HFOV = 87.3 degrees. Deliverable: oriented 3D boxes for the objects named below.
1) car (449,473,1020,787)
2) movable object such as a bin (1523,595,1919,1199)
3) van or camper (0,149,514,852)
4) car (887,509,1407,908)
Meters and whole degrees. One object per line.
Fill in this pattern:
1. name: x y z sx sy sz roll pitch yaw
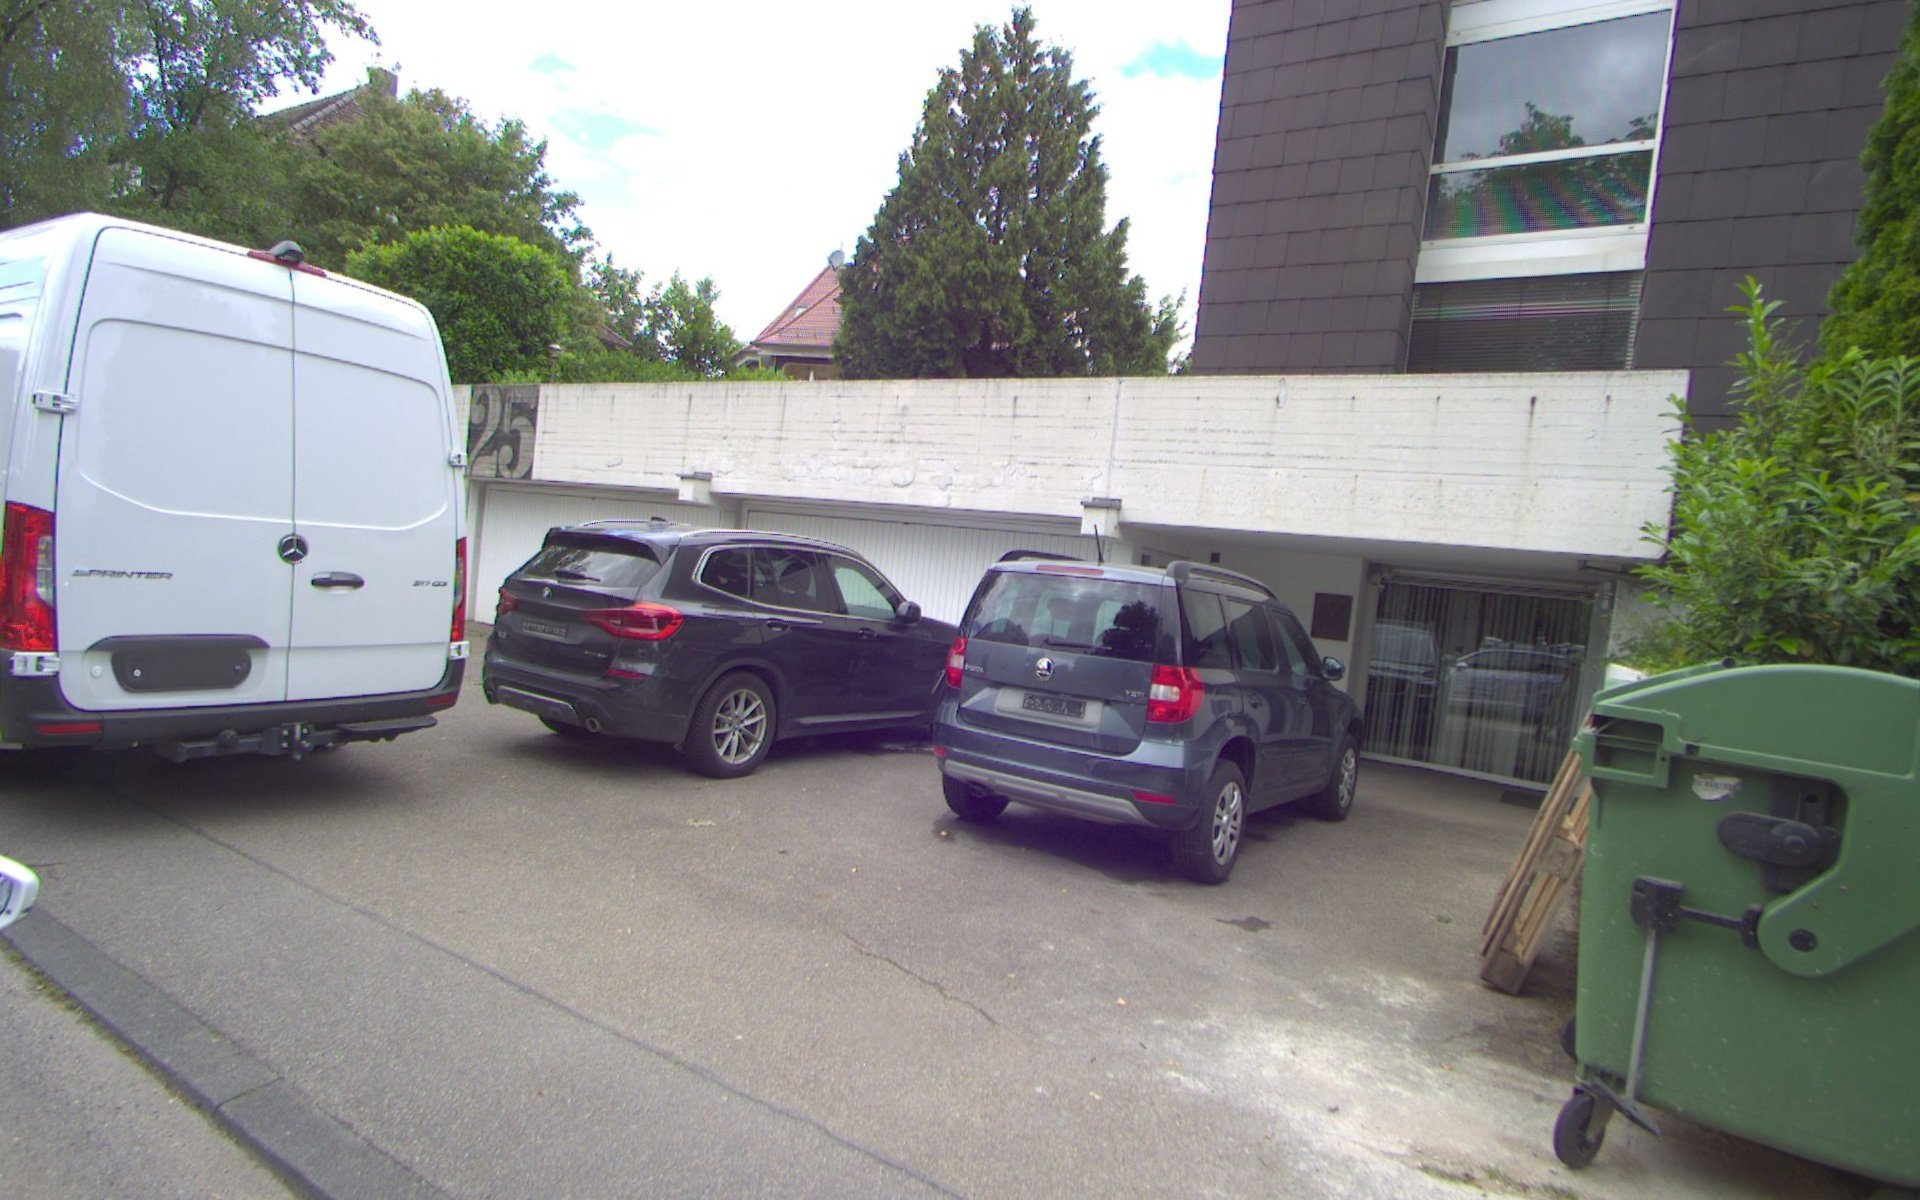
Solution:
1. car: -1.432 0.243 8.103 1.710 1.772 4.419 7 1 33
2. movable object such as a bin: 2.283 0.837 2.816 1.016 1.550 1.034 7 1 33
3. van or camper: -5.777 -0.612 6.327 6.432 2.653 1.995 7 1 32
4. car: 1.536 0.577 6.769 1.804 1.772 3.973 7 1 35
